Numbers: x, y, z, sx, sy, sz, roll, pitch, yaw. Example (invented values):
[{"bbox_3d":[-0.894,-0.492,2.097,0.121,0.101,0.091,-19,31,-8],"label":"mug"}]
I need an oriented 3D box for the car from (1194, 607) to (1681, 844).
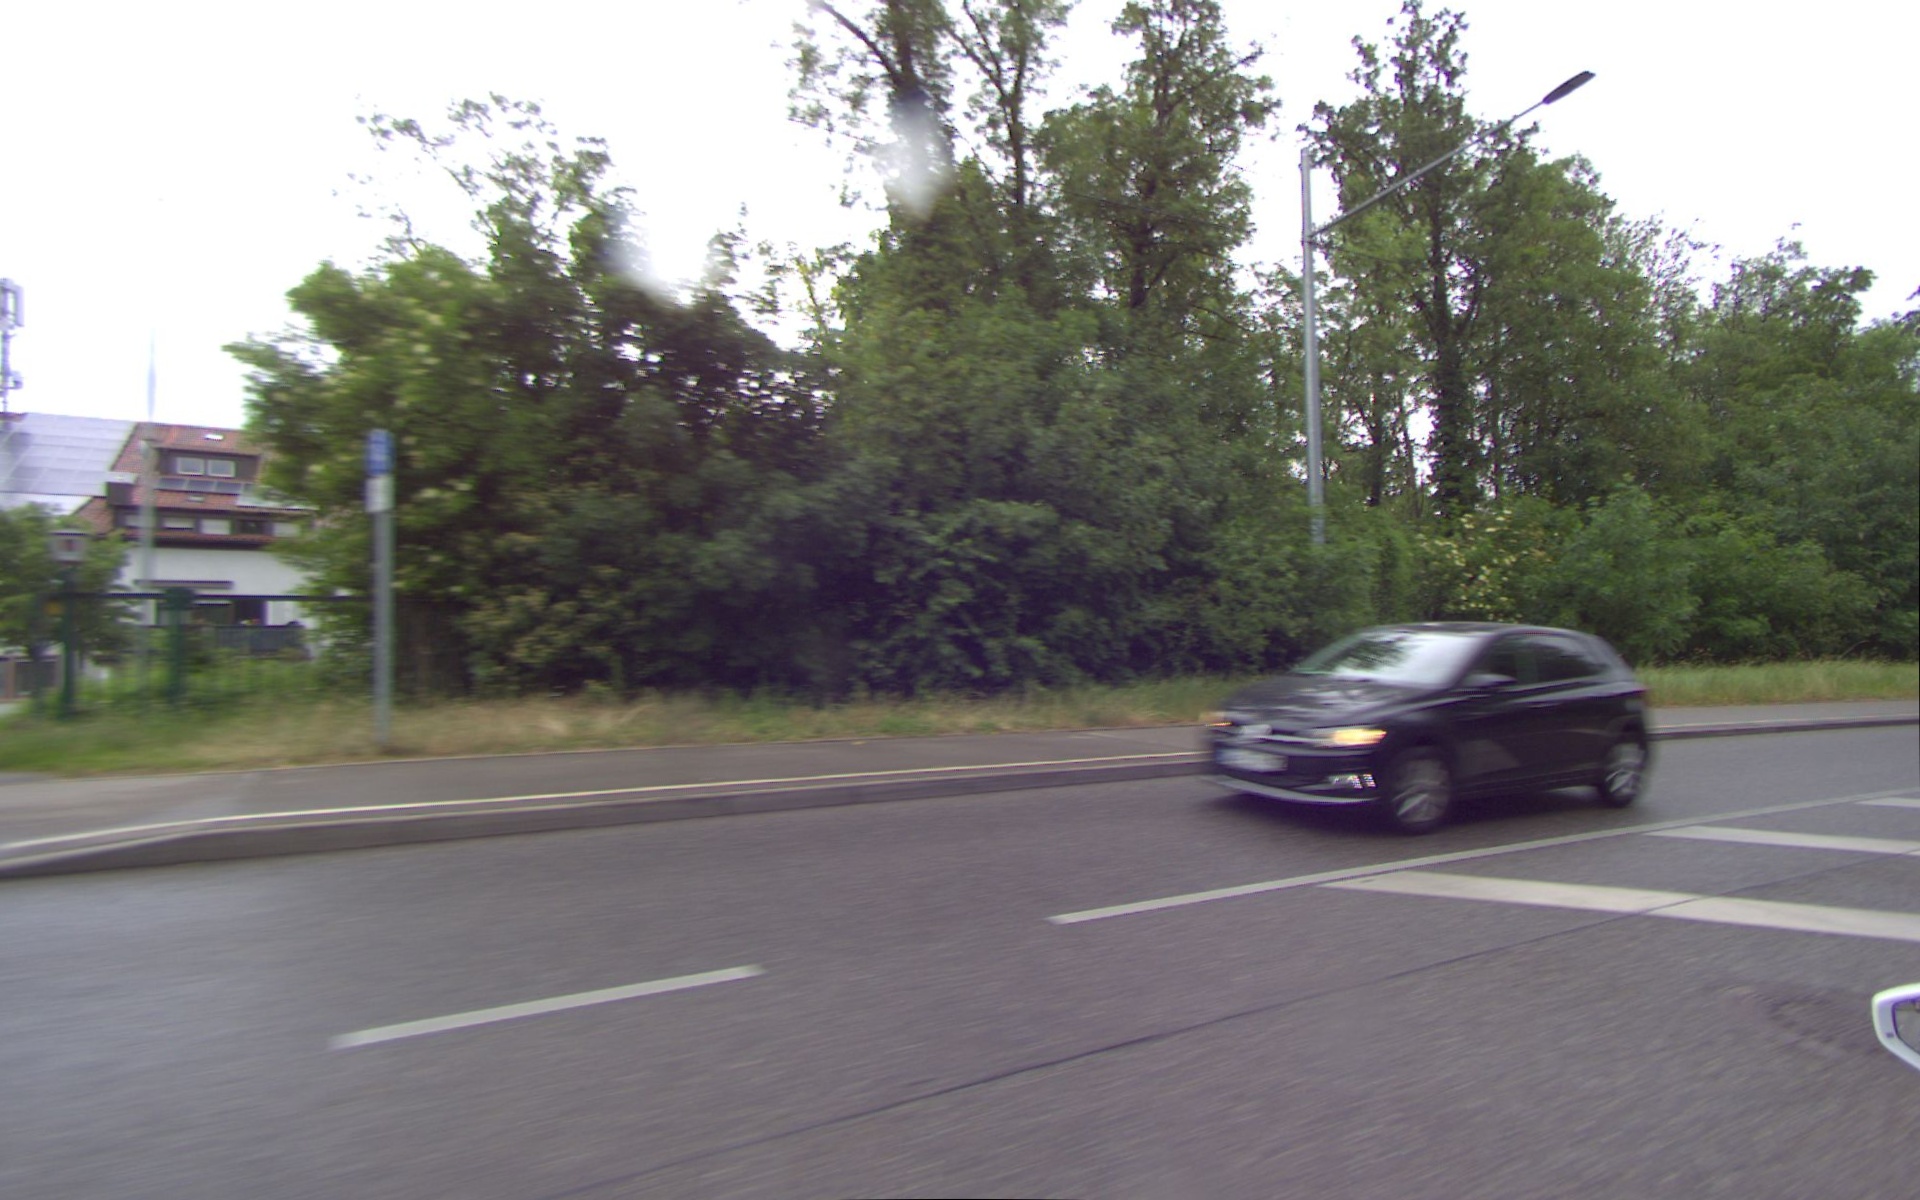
[{"bbox_3d":[3.853,0.852,8.024,3.745,1.497,1.588,1,0,-28],"label":"car"}]
